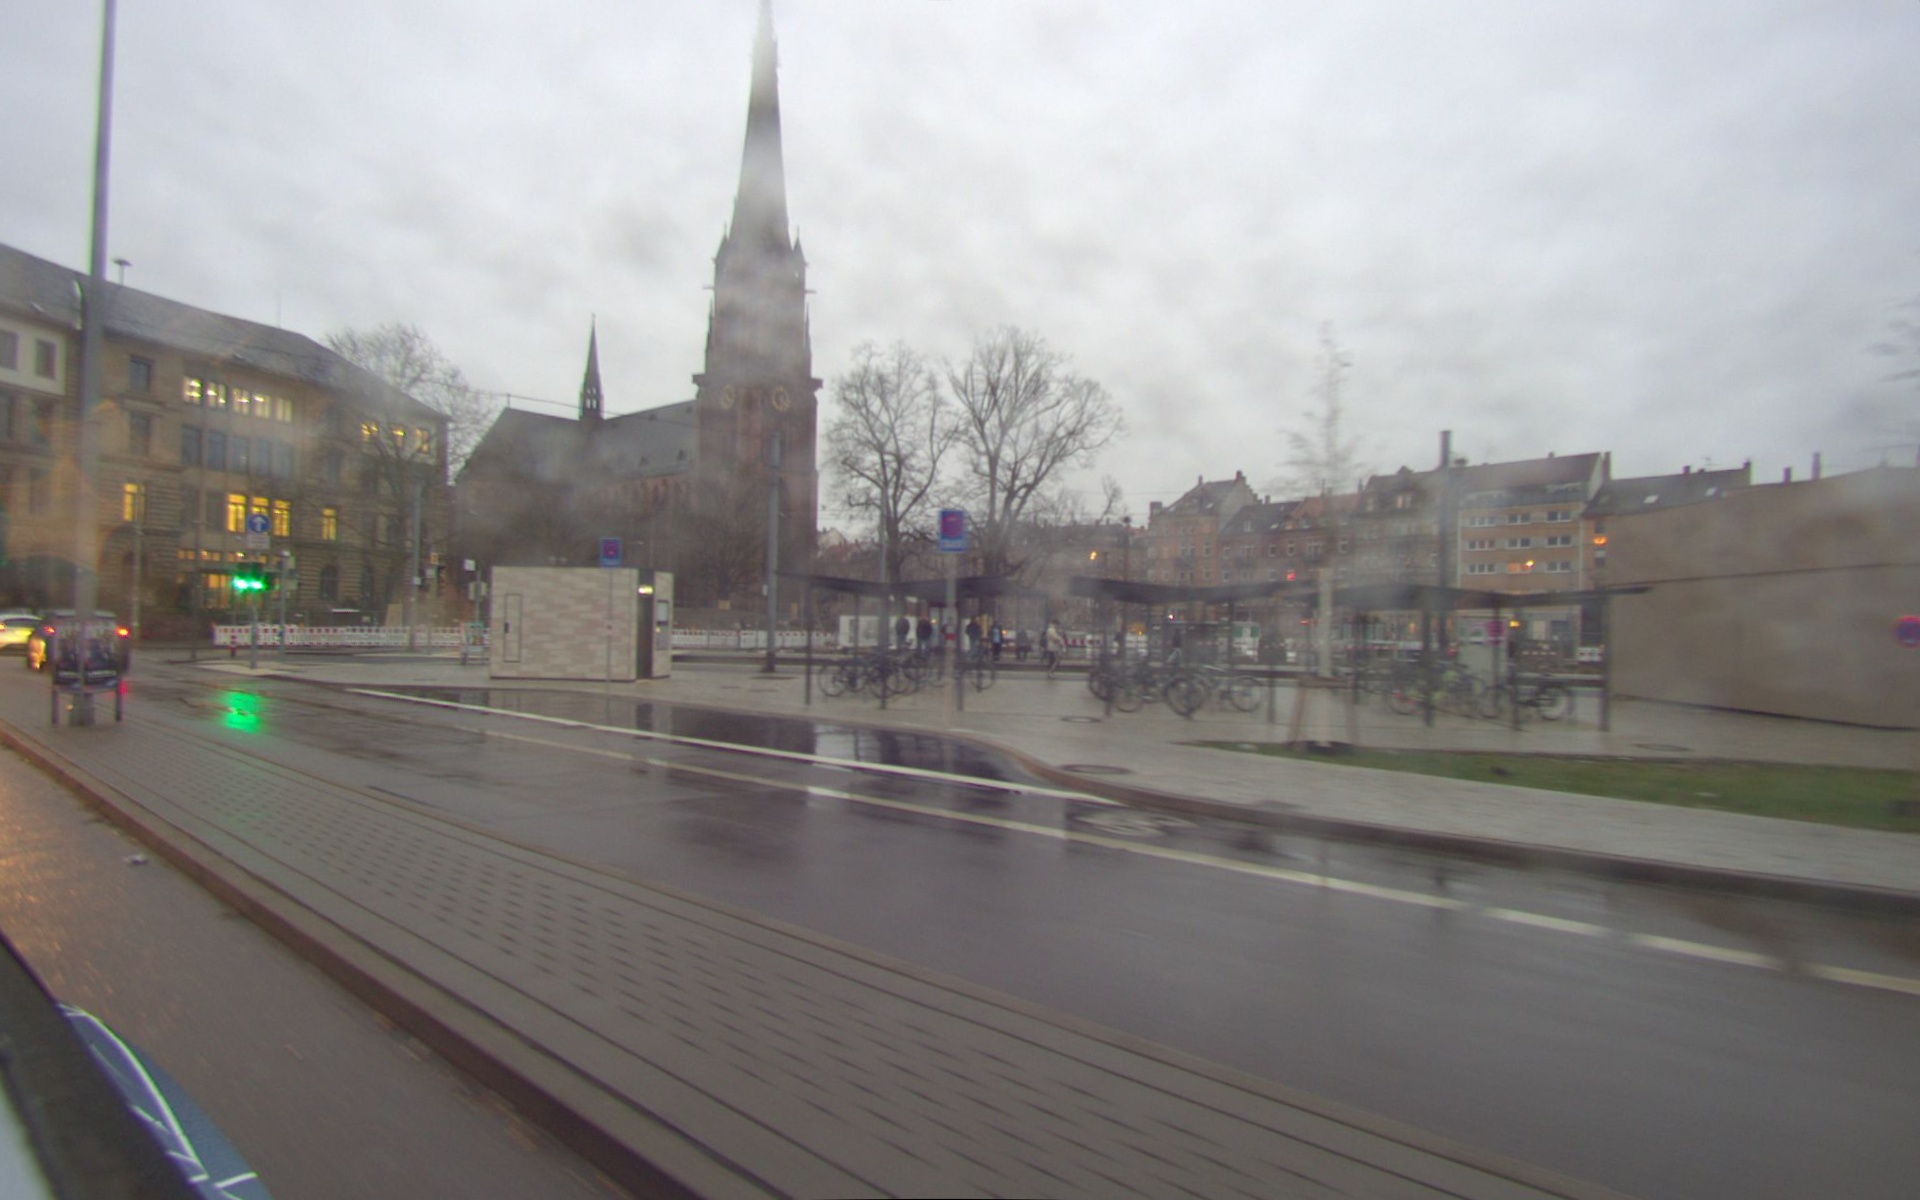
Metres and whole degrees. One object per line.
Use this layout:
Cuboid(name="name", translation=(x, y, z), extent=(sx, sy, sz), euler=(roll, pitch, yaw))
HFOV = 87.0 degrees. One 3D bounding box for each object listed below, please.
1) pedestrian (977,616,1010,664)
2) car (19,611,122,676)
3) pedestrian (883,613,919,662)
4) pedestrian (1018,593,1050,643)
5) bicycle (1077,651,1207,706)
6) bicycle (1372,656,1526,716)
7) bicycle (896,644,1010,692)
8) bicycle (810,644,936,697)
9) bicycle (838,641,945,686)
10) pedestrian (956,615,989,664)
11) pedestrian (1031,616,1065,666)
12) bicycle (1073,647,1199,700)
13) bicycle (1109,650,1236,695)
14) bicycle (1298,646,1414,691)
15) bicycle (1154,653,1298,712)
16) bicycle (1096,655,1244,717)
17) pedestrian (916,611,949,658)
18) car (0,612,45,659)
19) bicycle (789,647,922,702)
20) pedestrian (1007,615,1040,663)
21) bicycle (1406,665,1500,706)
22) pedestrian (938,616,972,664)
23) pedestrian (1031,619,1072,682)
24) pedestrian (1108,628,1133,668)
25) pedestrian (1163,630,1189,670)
Cuboid(name="pedestrian", translation=(1.325, 1.573, 40.474), extent=(0.848, 1.864, 1.021), euler=(-1, 0, 41))
Cuboid(name="car", translation=(-23.796, 1.128, 27.034), extent=(4.000, 1.607, 1.655), euler=(-1, -2, 43))
Cuboid(name="pedestrian", translation=(-2.299, 1.452, 39.619), extent=(0.848, 1.864, 1.036), euler=(-1, 2, 41))
Cuboid(name="pedestrian", translation=(2.808, 0.700, 38.449), extent=(0.808, 1.844, 0.935), euler=(-1, -3, 41))
Cuboid(name="bicycle", translation=(3.946, 1.696, 22.077), extent=(2.712, 1.113, 0.647), euler=(-1, 0, 1))
Cuboid(name="bicycle", translation=(9.741, 1.710, 20.215), extent=(2.714, 1.113, 0.607), euler=(1, 0, 3))
Cuboid(name="bicycle", translation=(-0.163, 1.668, 24.910), extent=(2.720, 1.113, 0.645), euler=(-1, 0, 10))
Cuboid(name="bicycle", translation=(-1.936, 1.561, 22.553), extent=(2.720, 1.113, 0.645), euler=(-1, 0, 10))
Cuboid(name="bicycle", translation=(-1.783, 1.660, 26.364), extent=(2.718, 1.113, 0.645), euler=(-1, 0, 7))
Cuboid(name="pedestrian", translation=(0.510, 1.549, 39.623), extent=(0.802, 1.864, 1.021), euler=(-1, -3, 41))
Cuboid(name="pedestrian", translation=(3.404, 1.577, 39.132), extent=(0.848, 1.864, 1.021), euler=(-1, 0, 41))
Cuboid(name="bicycle", translation=(3.950, 1.658, 22.859), extent=(2.713, 1.113, 0.647), euler=(1, 0, 1))
Cuboid(name="bicycle", translation=(5.541, 1.890, 26.536), extent=(3.155, 1.058, 0.794), euler=(1, -2, 6))
Cuboid(name="bicycle", translation=(10.286, 1.788, 26.362), extent=(2.720, 1.113, 0.645), euler=(-1, 0, 10))
Cuboid(name="bicycle", translation=(5.291, 1.648, 20.296), extent=(2.720, 1.113, 0.645), euler=(-1, 0, 10))
Cuboid(name="bicycle", translation=(3.985, 1.628, 19.352), extent=(2.720, 1.113, 0.645), euler=(-1, 0, 10))
Cuboid(name="pedestrian", translation=(-1.105, 1.386, 40.470), extent=(0.848, 1.864, 1.021), euler=(-1, -3, 41))
Cuboid(name="car", translation=(-34.410, 1.261, 36.240), extent=(3.993, 1.607, 1.658), euler=(-1, -2, 37))
Cuboid(name="bicycle", translation=(-2.209, 1.565, 21.396), extent=(2.720, 1.113, 0.645), euler=(-1, 0, 10))
Cuboid(name="pedestrian", translation=(2.515, 1.527, 39.921), extent=(0.848, 1.864, 1.021), euler=(-1, 0, 41))
Cuboid(name="bicycle", translation=(11.301, 1.947, 23.244), extent=(1.841, 0.878, 0.605), euler=(1, -3, 6))
Cuboid(name="pedestrian", translation=(-0.201, 1.585, 40.136), extent=(0.848, 1.864, 1.021), euler=(-1, -3, 41))
Cuboid(name="pedestrian", translation=(2.605, 1.427, 28.784), extent=(0.848, 1.693, 0.805), euler=(2, 3, 41))
Cuboid(name="pedestrian", translation=(7.616, 2.262, 47.967), extent=(0.808, 1.844, 0.935), euler=(-1, -3, 41))
Cuboid(name="pedestrian", translation=(9.961, 2.293, 46.573), extent=(0.808, 1.844, 0.935), euler=(-1, -3, 41))
